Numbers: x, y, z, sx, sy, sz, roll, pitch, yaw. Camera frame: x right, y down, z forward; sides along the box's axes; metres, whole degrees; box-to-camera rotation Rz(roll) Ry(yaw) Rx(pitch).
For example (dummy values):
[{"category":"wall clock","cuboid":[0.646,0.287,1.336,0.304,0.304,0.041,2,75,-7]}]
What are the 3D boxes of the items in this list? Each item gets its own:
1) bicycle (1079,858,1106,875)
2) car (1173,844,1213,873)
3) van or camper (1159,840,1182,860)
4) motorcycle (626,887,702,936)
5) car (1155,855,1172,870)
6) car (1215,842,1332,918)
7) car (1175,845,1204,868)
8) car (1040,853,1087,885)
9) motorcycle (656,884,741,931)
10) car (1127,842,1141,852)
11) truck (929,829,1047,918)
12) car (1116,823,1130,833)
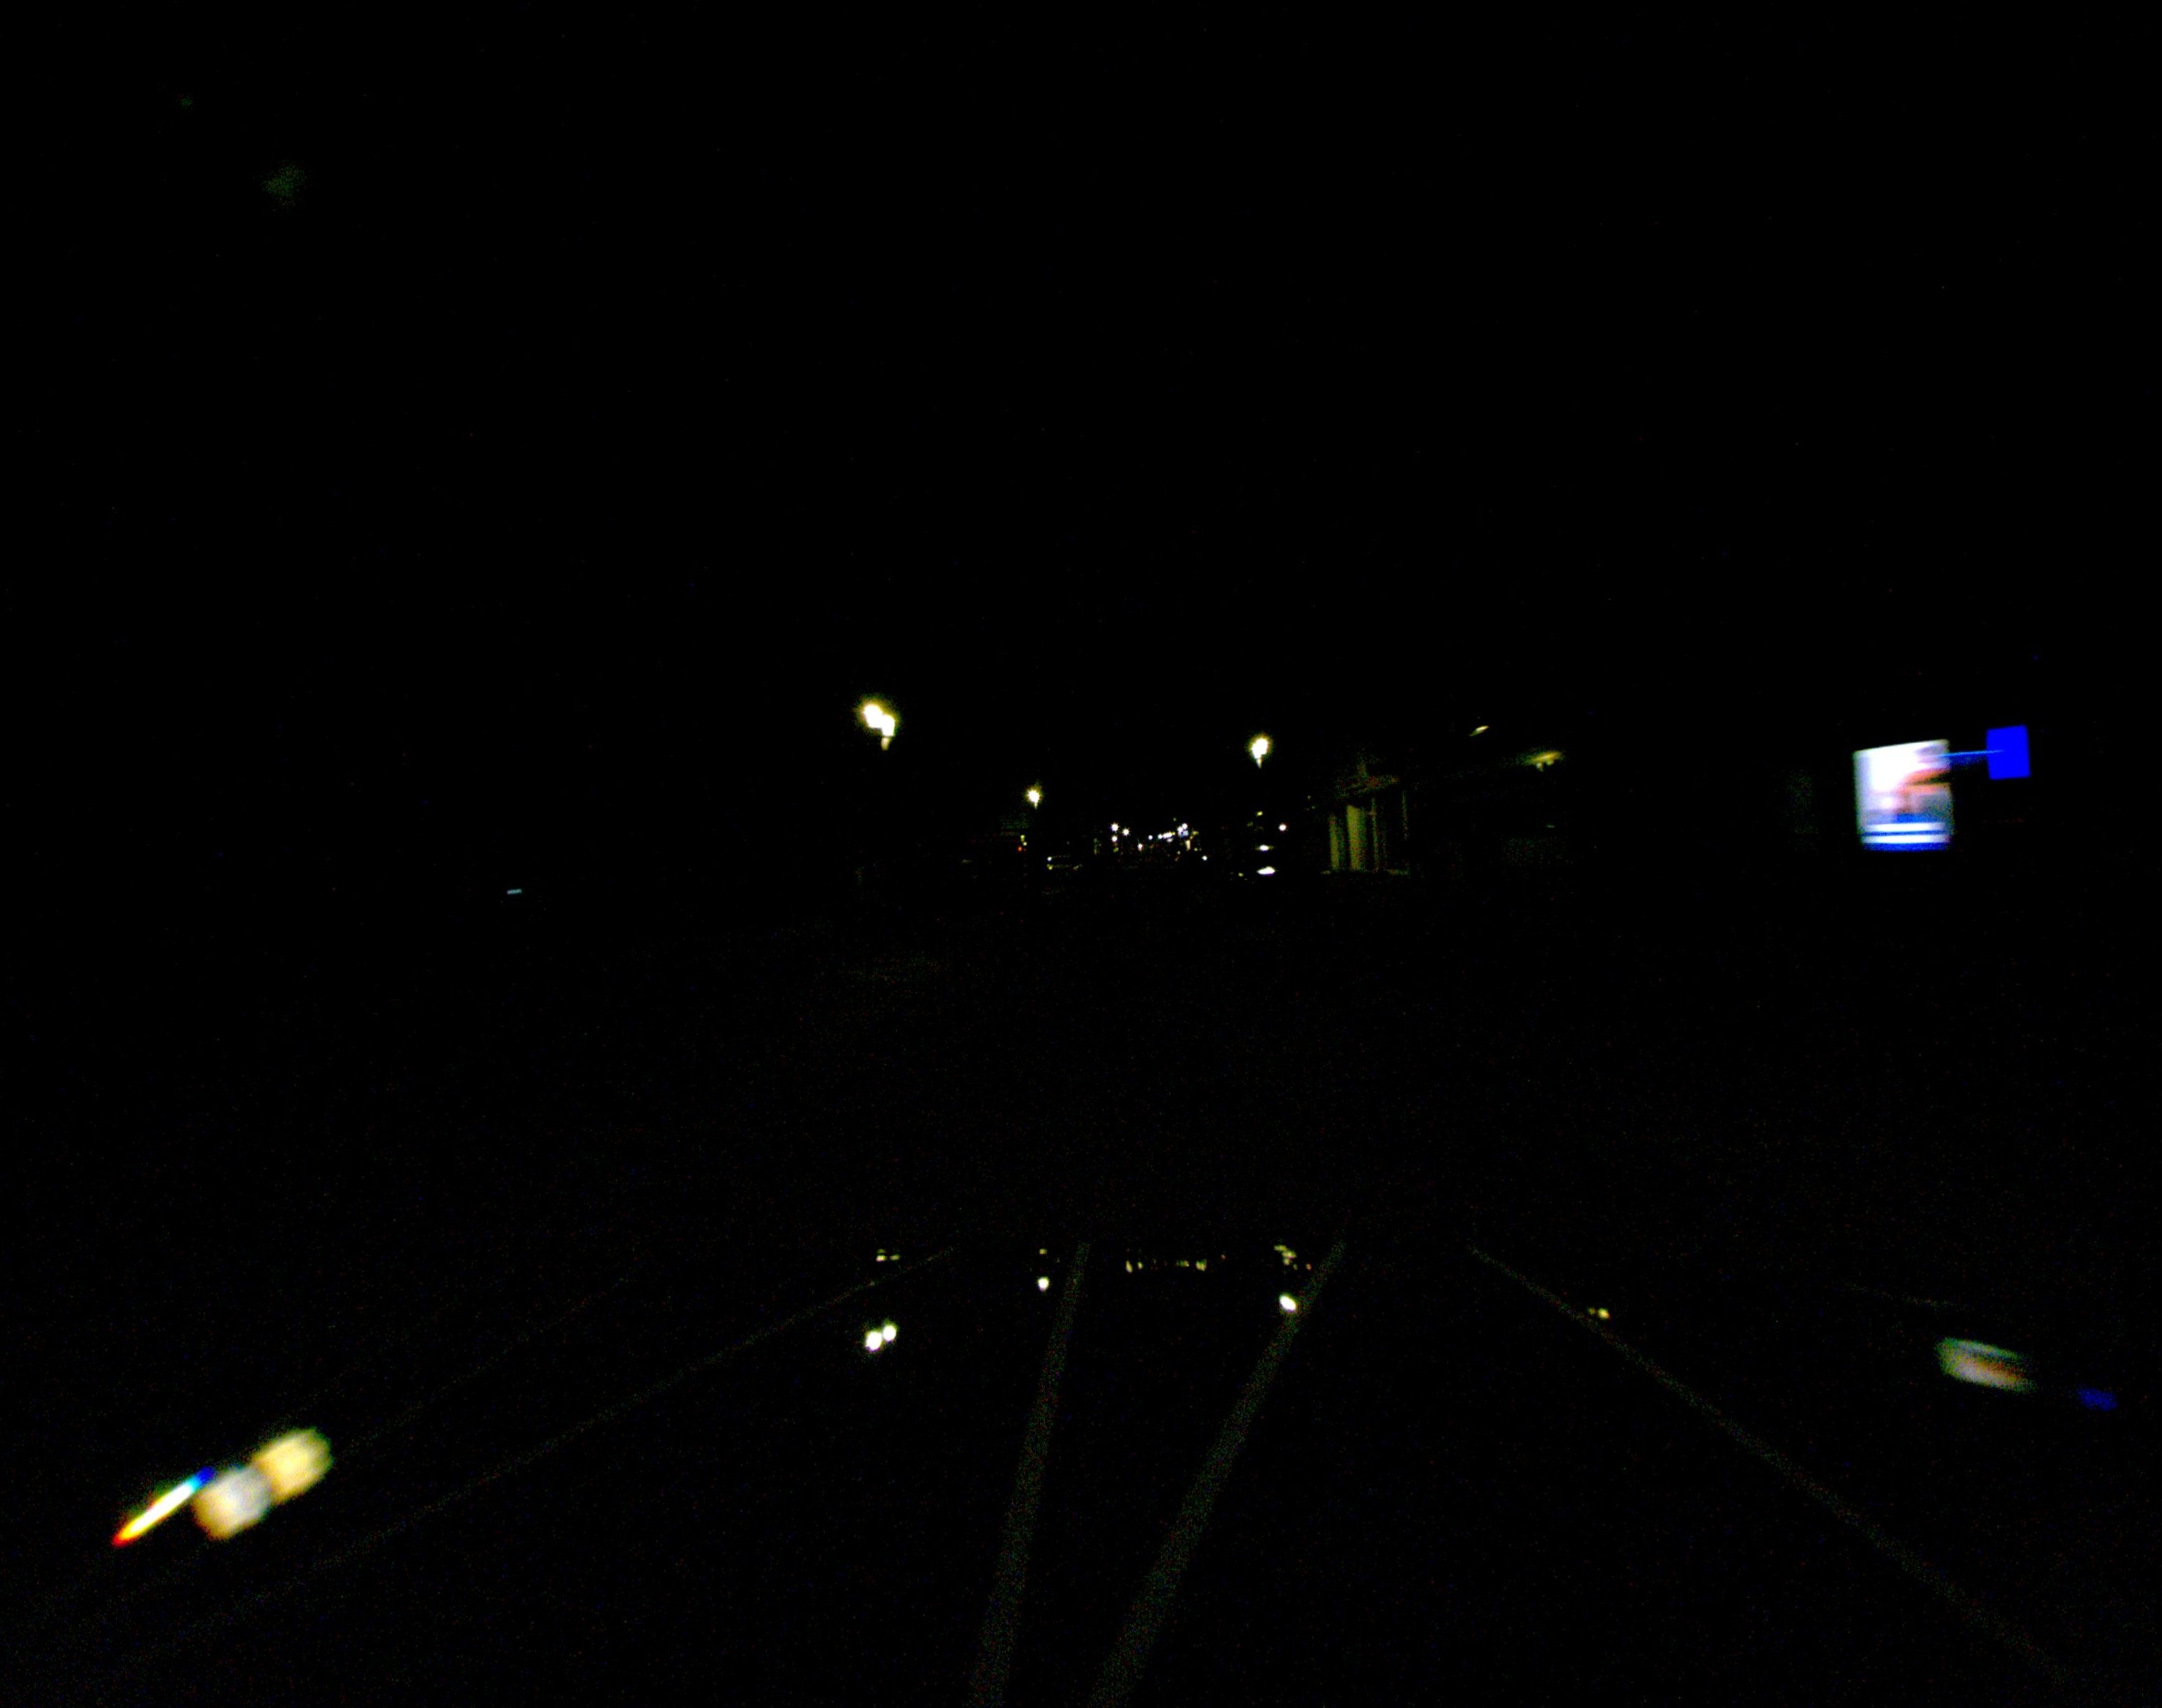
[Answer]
[{"category":"bicycle","cuboid":[0.755,0.845,51.162,1.758,1.056,0.346,-3,1,3]},{"category":"car","cuboid":[6.777,0.219,46.485,2.024,1.479,5.009,-6,0,5]},{"category":"van or camper","cuboid":[9.340,-0.430,78.663,1.849,1.930,5.157,-4,0,11]},{"category":"motorcycle","cuboid":[-11.095,1.519,20.246,1.634,1.179,0.561,-3,1,0]},{"category":"car","cuboid":[9.198,0.947,84.896,1.720,1.404,4.387,-5,0,7]},{"category":"car","cuboid":[4.571,0.551,18.684,1.678,1.534,4.230,-4,0,0]},{"category":"car","cuboid":[7.736,0.144,54.499,1.732,1.468,3.848,-4,0,5]},{"category":"car","cuboid":[-0.844,0.747,39.128,1.793,1.483,4.060,-2,1,7]},{"category":"motorcycle","cuboid":[-10.689,1.486,21.258,2.022,1.179,0.561,-3,1,0]},{"category":"car","cuboid":[8.239,-1.126,118.277,1.756,1.456,4.469,-1,1,9]},{"category":"truck","cuboid":[-2.649,0.502,23.444,2.341,2.298,5.782,-3,0,5]},{"category":"car","cuboid":[6.279,-3.823,112.937,1.664,1.369,4.106,-1,1,9]}]
